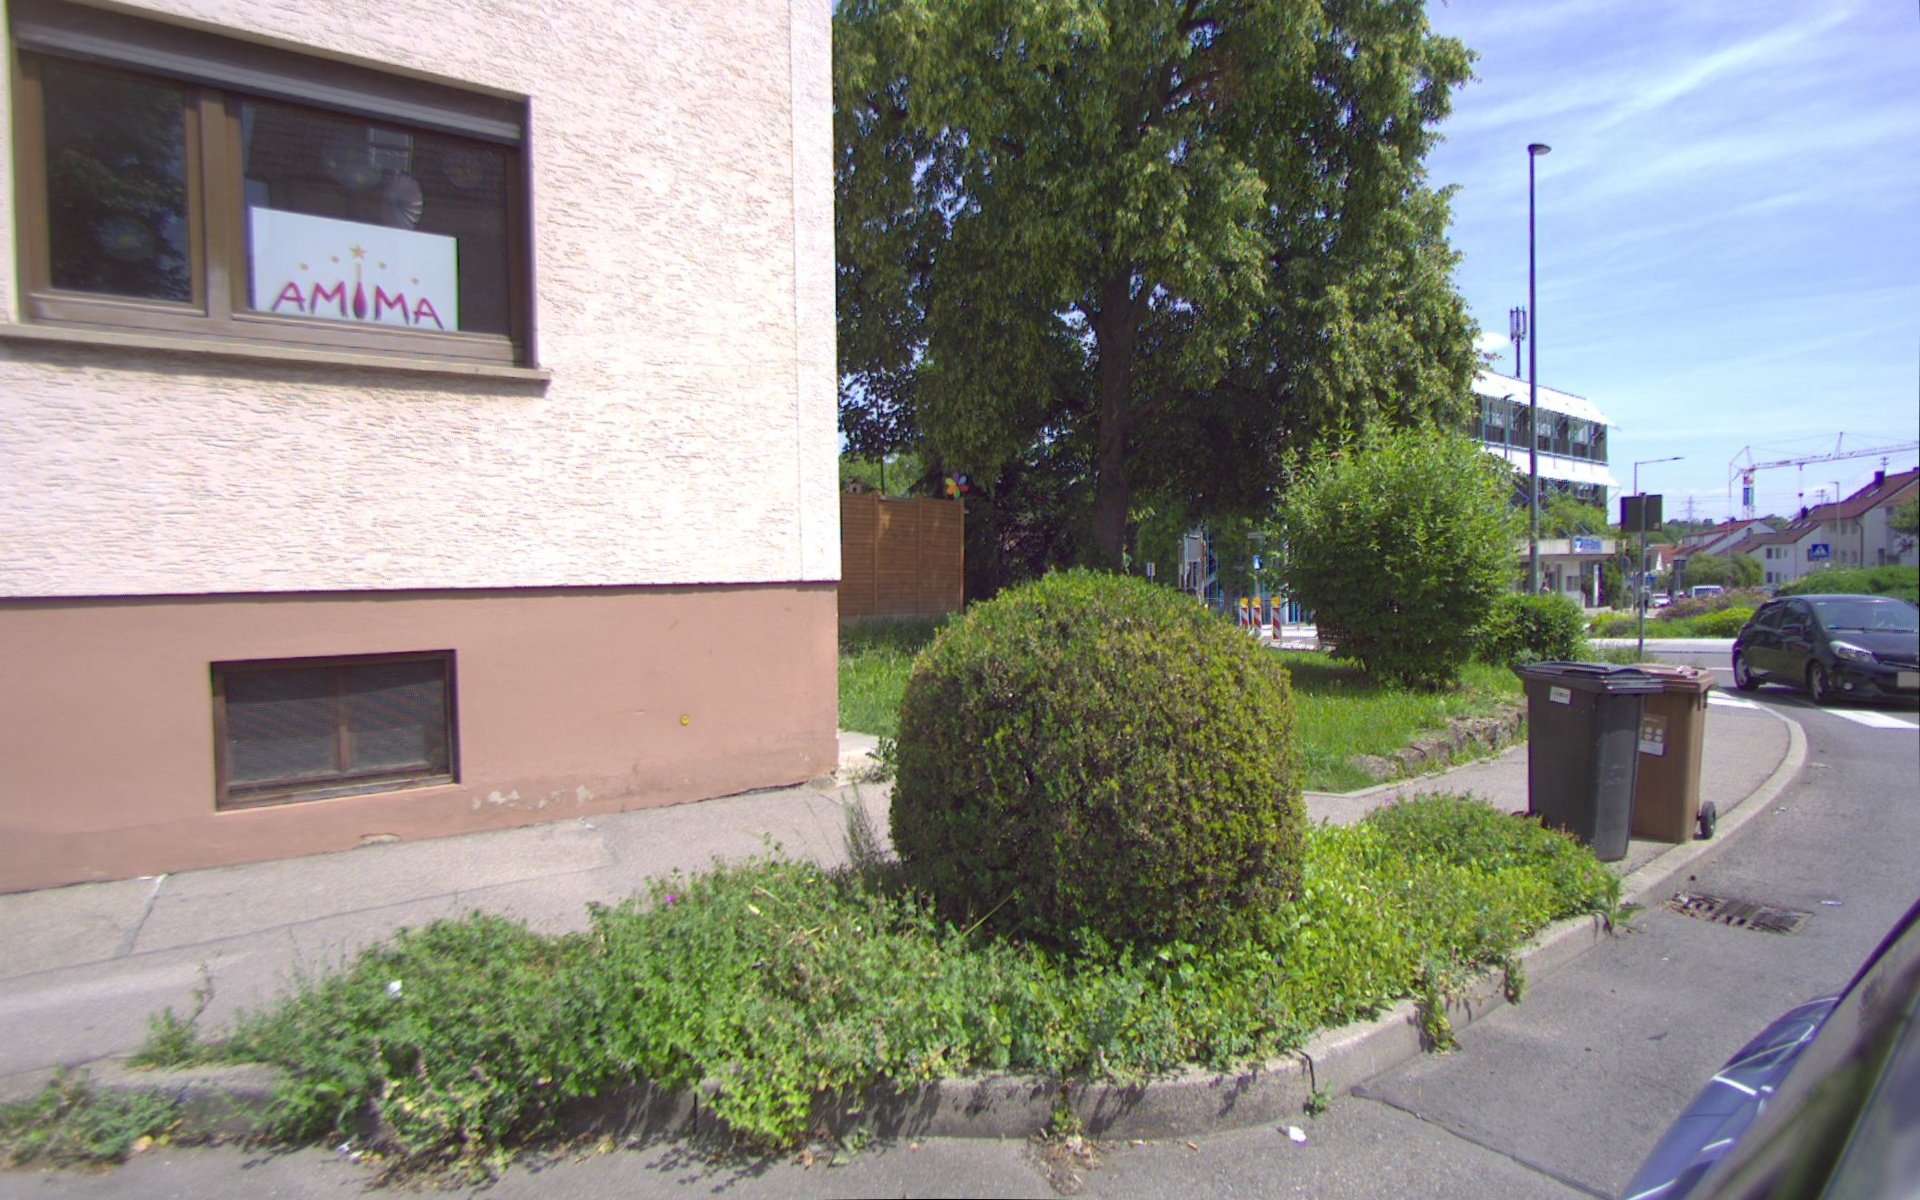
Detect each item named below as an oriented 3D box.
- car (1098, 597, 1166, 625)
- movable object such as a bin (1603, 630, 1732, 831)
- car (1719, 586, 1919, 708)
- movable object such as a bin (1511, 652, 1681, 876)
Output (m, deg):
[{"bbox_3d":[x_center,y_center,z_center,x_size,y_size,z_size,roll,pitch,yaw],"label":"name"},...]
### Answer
[{"bbox_3d":[10.803,0.706,63.423,4.152,1.455,1.862,-4,1,-38],"label":"car"},{"bbox_3d":[3.895,0.683,5.572,0.500,1.006,0.495,-1,0,45],"label":"movable object such as a bin"},{"bbox_3d":[12.611,0.562,14.270,1.704,1.475,4.403,0,0,19],"label":"car"},{"bbox_3d":[3.177,0.784,5.075,0.491,1.006,0.527,0,0,-23],"label":"movable object such as a bin"}]
